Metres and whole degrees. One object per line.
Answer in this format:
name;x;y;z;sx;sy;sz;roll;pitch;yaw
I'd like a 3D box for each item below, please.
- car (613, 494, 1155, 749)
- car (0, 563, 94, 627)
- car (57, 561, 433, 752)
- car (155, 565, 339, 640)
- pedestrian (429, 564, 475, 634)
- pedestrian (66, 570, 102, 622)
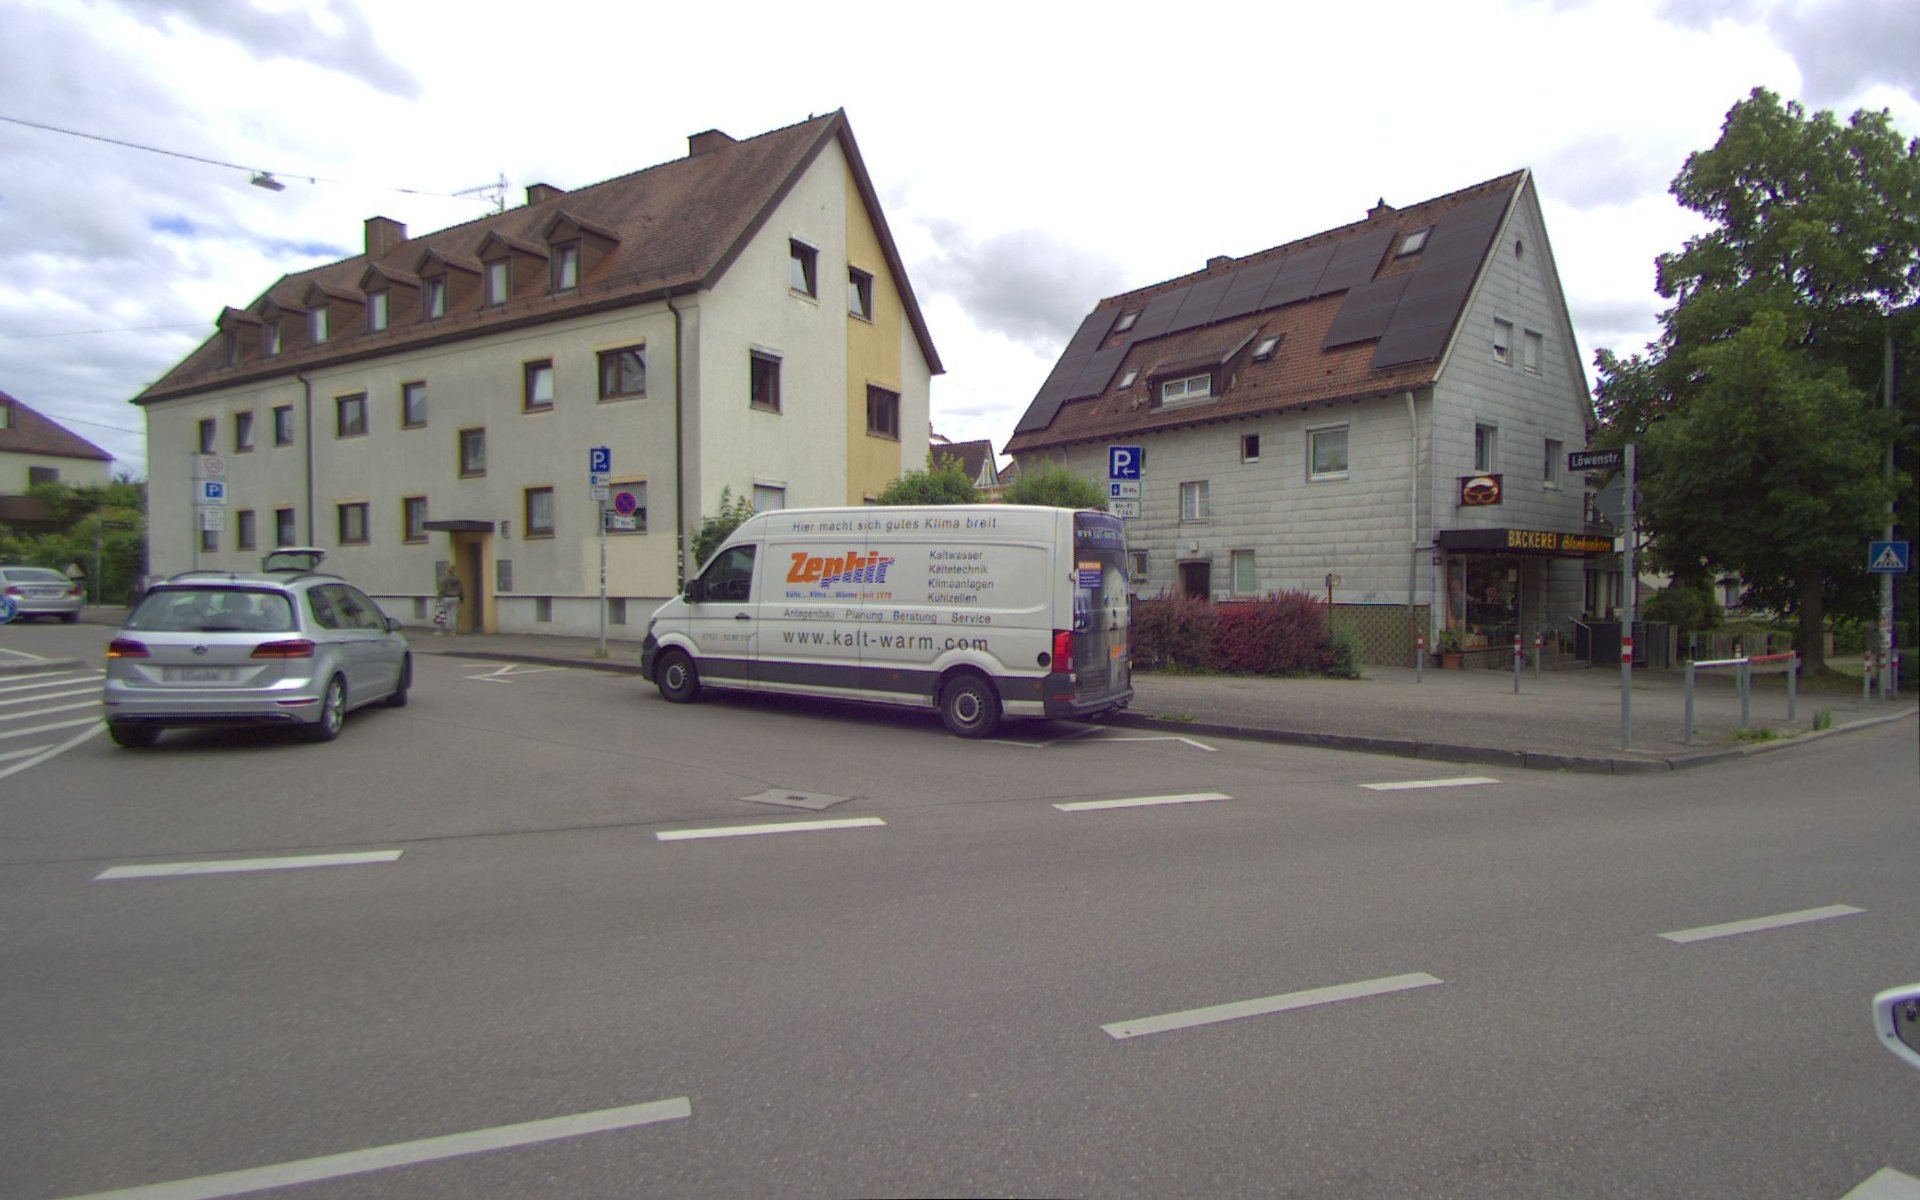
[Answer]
car;-1.190;0.105;12.702;6.856;2.556;2.080;2;2;30
car;-24.849;-0.178;26.515;4.157;1.554;1.680;2;0;30
car;-7.097;0.467;10.548;1.897;1.595;3.988;1;0;-15
car;-16.414;-0.008;23.106;4.237;1.459;1.719;3;3;28
pedestrian;-11.691;-0.035;23.122;0.706;1.555;0.745;4;4;41
pedestrian;-28.913;-0.144;33.147;0.768;1.655;0.680;3;4;32
